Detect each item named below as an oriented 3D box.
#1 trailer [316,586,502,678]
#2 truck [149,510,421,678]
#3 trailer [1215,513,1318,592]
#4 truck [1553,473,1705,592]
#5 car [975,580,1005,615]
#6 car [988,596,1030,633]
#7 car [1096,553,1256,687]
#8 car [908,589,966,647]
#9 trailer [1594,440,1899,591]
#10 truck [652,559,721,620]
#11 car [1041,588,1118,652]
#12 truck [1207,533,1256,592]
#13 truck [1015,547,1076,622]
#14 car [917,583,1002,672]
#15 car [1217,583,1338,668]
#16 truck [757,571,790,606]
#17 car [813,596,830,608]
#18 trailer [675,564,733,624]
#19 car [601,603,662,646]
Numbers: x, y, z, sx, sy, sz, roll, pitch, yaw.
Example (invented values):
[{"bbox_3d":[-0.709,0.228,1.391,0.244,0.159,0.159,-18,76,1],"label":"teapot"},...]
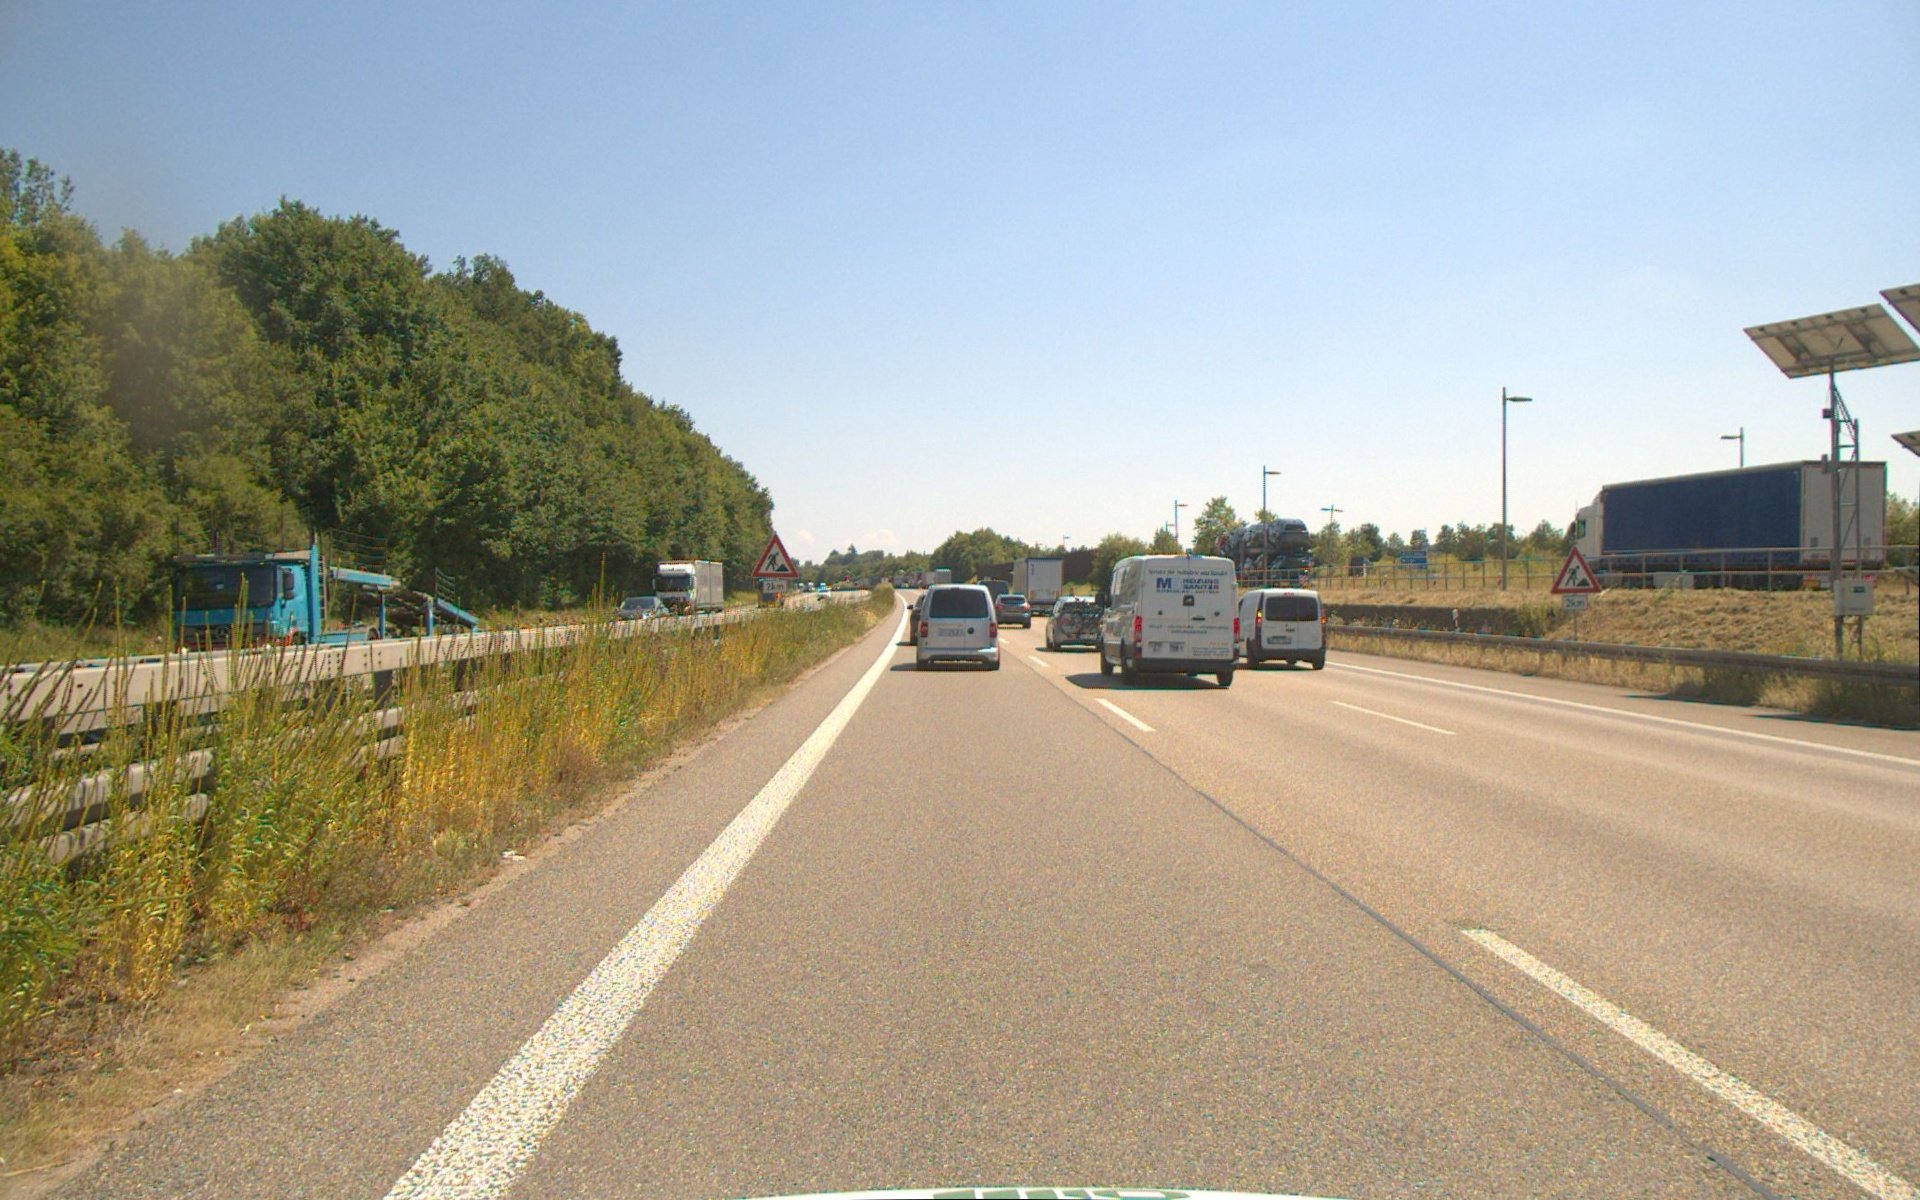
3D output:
[{"bbox_3d":[-17.549,0.973,53.401,3.082,2.685,8.530,1,0,0],"label":"trailer"},{"bbox_3d":[-17.416,-0.120,43.766,2.935,3.868,10.786,-1,0,-1],"label":"truck"},{"bbox_3d":[19.079,-2.788,104.483,2.553,4.332,18.415,1,0,-1],"label":"trailer"},{"bbox_3d":[25.202,-2.430,62.652,2.990,4.154,6.396,1,0,-1],"label":"truck"},{"bbox_3d":[1.740,-0.130,96.138,1.640,1.925,4.088,-1,0,0],"label":"car"},{"bbox_3d":[2.311,0.670,78.691,1.863,1.701,4.088,-1,0,0],"label":"car"},{"bbox_3d":[3.951,0.356,31.176,2.138,2.293,5.361,1,0,-2],"label":"car"},{"bbox_3d":[-0.682,0.550,51.988,1.709,1.731,4.088,-1,0,0],"label":"car"},{"bbox_3d":[25.374,-2.472,54.738,2.990,4.154,14.253,1,0,-1],"label":"trailer"},{"bbox_3d":[-19.006,-0.712,115.738,3.384,4.064,11.118,-1,0,-3],"label":"truck"},{"bbox_3d":[3.429,0.568,48.084,1.935,1.763,4.088,-1,0,0],"label":"car"},{"bbox_3d":[18.831,-2.581,114.829,2.549,3.894,3.999,1,0,-2],"label":"truck"},{"bbox_3d":[6.134,-1.054,120.440,3.710,5.087,12.517,1,0,0],"label":"truck"},{"bbox_3d":[-0.011,0.563,35.819,1.709,1.795,4.088,-1,0,0],"label":"car"},{"bbox_3d":[7.397,0.576,38.963,1.911,1.870,4.176,-1,0,-2],"label":"car"},{"bbox_3d":[-21.118,-1.286,187.658,2.726,3.804,11.153,1,0,-2],"label":"truck"},{"bbox_3d":[-19.625,0.310,234.684,1.953,1.699,5.609,-2,0,-2],"label":"car"},{"bbox_3d":[-19.344,-0.425,125.231,3.384,4.354,7.966,1,0,-3],"label":"trailer"},{"bbox_3d":[-13.964,1.019,70.510,1.689,1.685,4.859,-2,0,-2],"label":"car"}]
